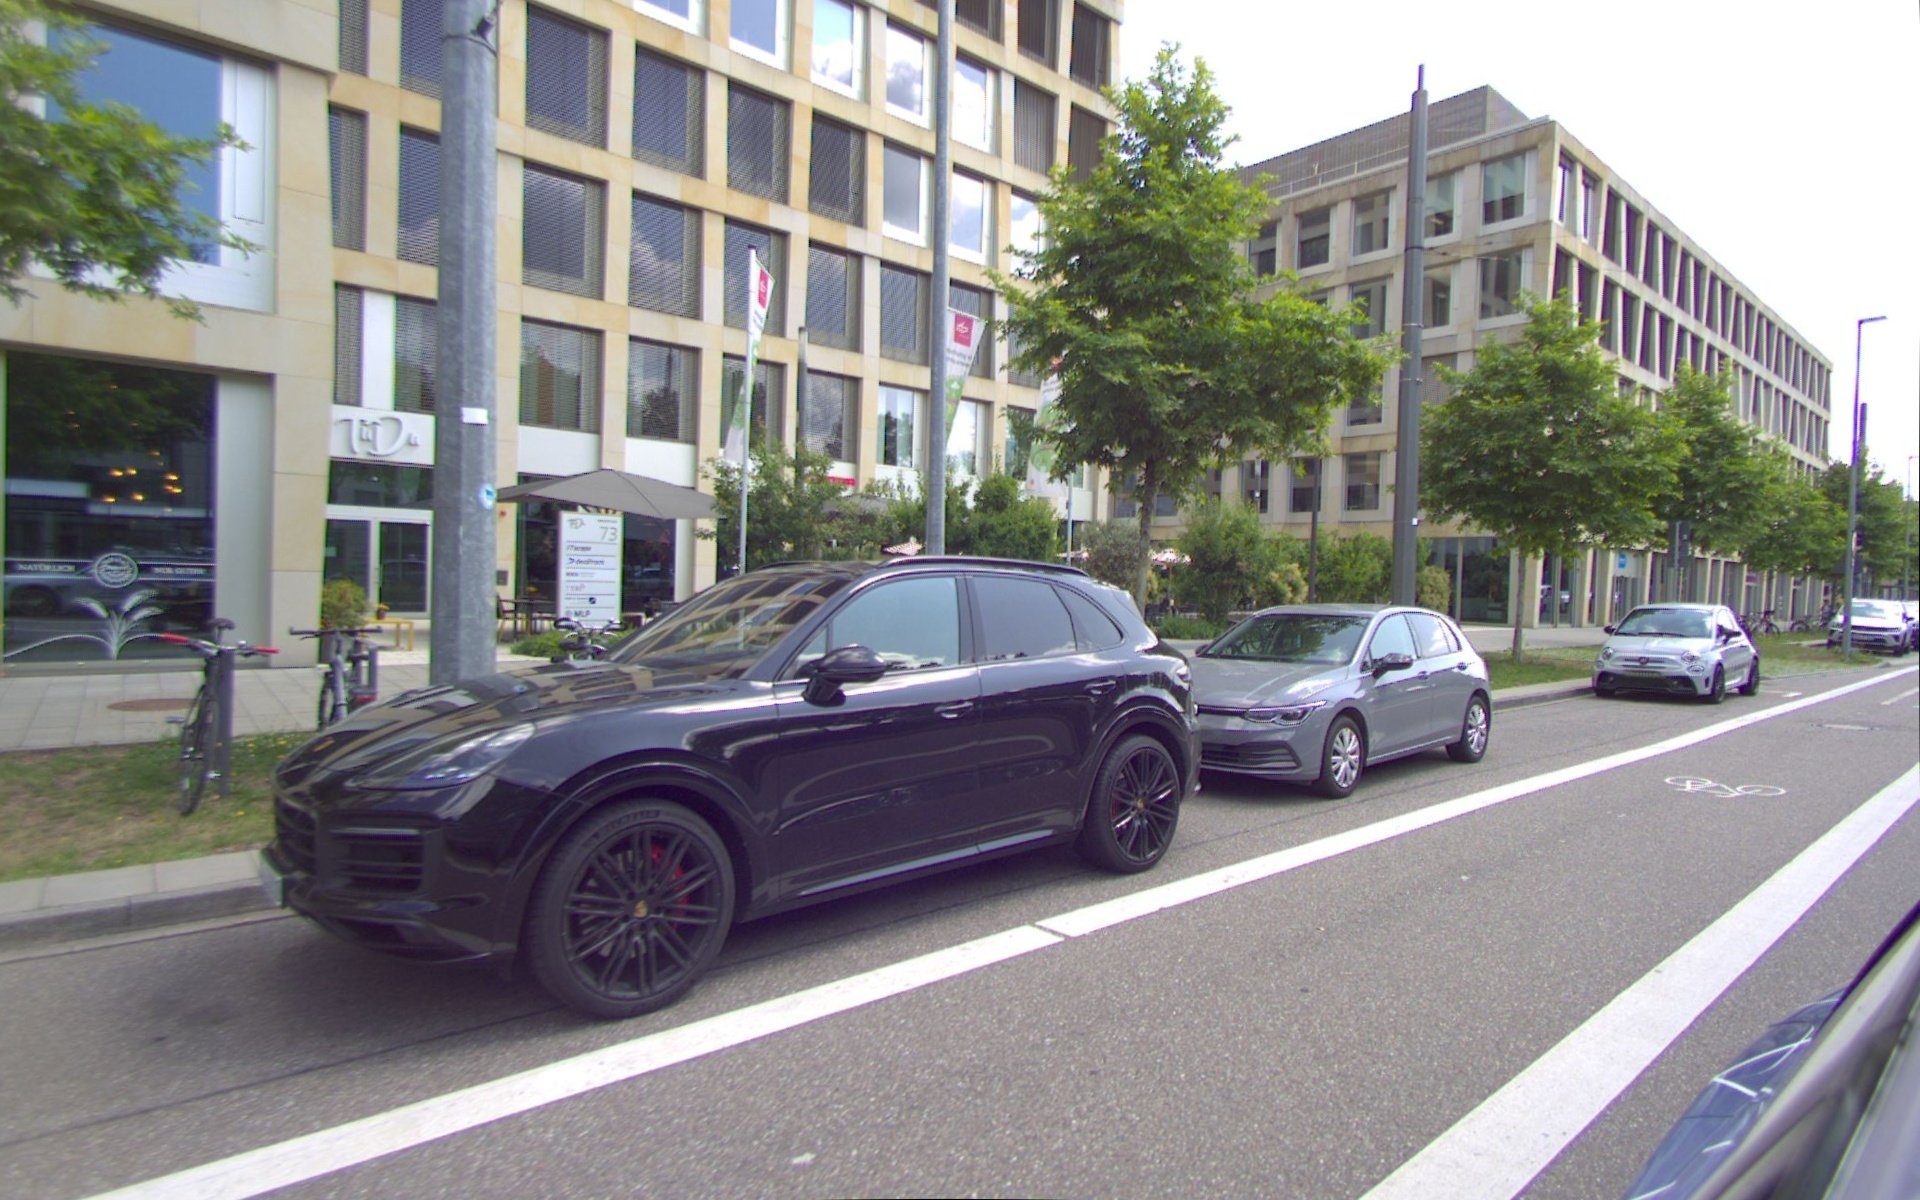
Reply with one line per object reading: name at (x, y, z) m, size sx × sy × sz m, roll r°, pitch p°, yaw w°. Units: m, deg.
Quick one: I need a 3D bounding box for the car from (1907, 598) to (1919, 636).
car at (39.946, 0.721, 41.093) m, size 3.881 × 1.475 × 1.689 m, roll 0°, pitch 3°, yaw -40°

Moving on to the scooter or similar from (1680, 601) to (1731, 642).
scooter or similar at (22.551, 0.637, 30.616) m, size 0.705 × 1.190 × 1.055 m, roll 1°, pitch 1°, yaw -36°

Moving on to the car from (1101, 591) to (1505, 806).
car at (3.143, 0.671, 8.807) m, size 4.037 × 1.453 × 1.593 m, roll 0°, pitch 0°, yaw -42°

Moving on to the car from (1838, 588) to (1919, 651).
car at (27.632, 0.543, 30.143) m, size 3.922 × 1.653 × 1.689 m, roll 0°, pitch 4°, yaw -42°

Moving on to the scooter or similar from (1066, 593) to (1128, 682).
scooter or similar at (1.958, 0.520, 14.450) m, size 0.997 × 1.230 × 0.259 m, roll 0°, pitch 1°, yaw -41°

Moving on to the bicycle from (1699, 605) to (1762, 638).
bicycle at (24.345, 0.661, 32.002) m, size 0.496 × 0.928 × 1.500 m, roll -3°, pitch 4°, yaw -37°

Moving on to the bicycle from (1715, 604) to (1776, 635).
bicycle at (25.773, 0.625, 33.223) m, size 0.496 × 0.928 × 1.500 m, roll -3°, pitch 4°, yaw -37°

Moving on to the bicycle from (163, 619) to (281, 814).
bicycle at (-5.015, 0.706, 6.885) m, size 0.573 × 1.043 × 1.829 m, roll 0°, pitch 2°, yaw -36°

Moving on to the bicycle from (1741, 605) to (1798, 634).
bicycle at (28.639, 0.668, 35.826) m, size 0.496 × 0.928 × 1.500 m, roll -3°, pitch 4°, yaw -37°

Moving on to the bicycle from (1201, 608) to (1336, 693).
bicycle at (4.461, 0.696, 14.757) m, size 0.673 × 1.089 × 1.830 m, roll 0°, pitch 2°, yaw -36°

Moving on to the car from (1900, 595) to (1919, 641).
car at (36.104, 0.681, 37.249) m, size 4.078 × 1.625 × 1.689 m, roll 0°, pitch 3°, yaw -40°

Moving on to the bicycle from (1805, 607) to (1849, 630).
bicycle at (36.902, 0.796, 43.069) m, size 0.265 × 0.886 × 1.387 m, roll -3°, pitch 4°, yaw -37°

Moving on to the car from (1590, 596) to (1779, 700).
car at (11.673, 0.695, 16.238) m, size 3.547 × 1.479 × 1.595 m, roll 1°, pitch 0°, yaw -39°

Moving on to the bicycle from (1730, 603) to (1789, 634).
bicycle at (27.207, 0.622, 34.455) m, size 0.496 × 0.928 × 1.500 m, roll -3°, pitch 4°, yaw -37°

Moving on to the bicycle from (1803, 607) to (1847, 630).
bicycle at (36.662, 0.795, 42.888) m, size 0.265 × 0.886 × 1.387 m, roll -3°, pitch 4°, yaw -37°

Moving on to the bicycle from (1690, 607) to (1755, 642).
bicycle at (23.202, 0.730, 30.808) m, size 0.496 × 0.928 × 1.500 m, roll -3°, pitch 4°, yaw -37°

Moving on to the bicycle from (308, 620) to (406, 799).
bicycle at (-4.398, 0.715, 7.336) m, size 0.424 × 1.043 × 1.829 m, roll 0°, pitch 2°, yaw -36°

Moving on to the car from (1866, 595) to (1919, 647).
car at (31.576, 0.677, 33.580) m, size 3.857 × 1.567 × 1.689 m, roll 0°, pitch 3°, yaw -40°

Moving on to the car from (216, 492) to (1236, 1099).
car at (-0.690, 0.550, 5.080) m, size 4.758 × 1.690 × 1.740 m, roll 0°, pitch 0°, yaw -42°

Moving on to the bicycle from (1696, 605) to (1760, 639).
bicycle at (23.921, 0.674, 31.542) m, size 0.496 × 0.928 × 1.500 m, roll -3°, pitch 4°, yaw -37°
